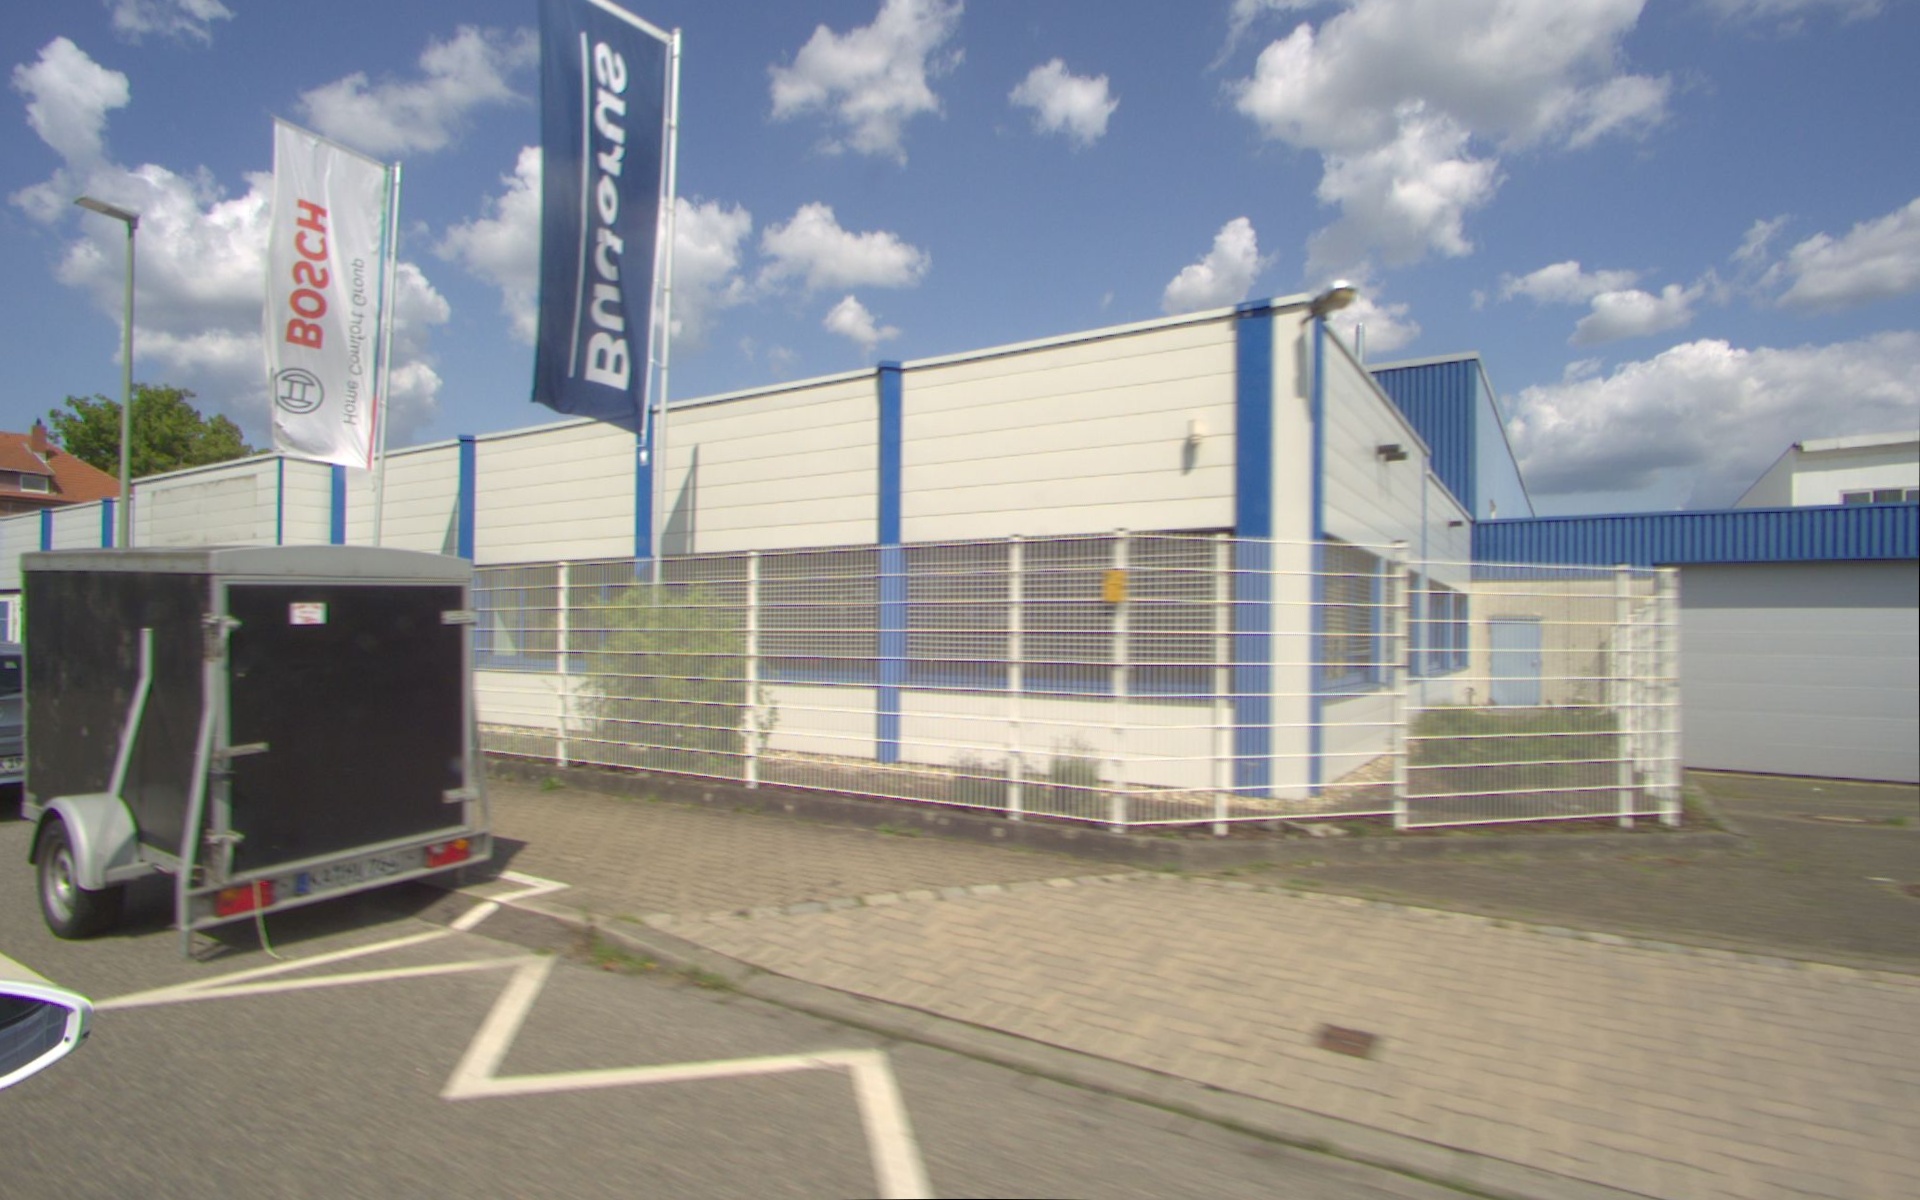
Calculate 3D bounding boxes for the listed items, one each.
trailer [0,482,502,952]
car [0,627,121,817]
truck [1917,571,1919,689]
[{"bbox_3d":[-4.225,0.563,5.820,2.702,2.063,1.599,-1,-2,32],"label":"trailer"},{"bbox_3d":[-9.472,1.010,9.178,4.074,1.526,1.570,-1,-2,32],"label":"car"},{"bbox_3d":[31.428,0.950,29.921,2.593,4.050,9.607,-1,-1,35],"label":"truck"}]
